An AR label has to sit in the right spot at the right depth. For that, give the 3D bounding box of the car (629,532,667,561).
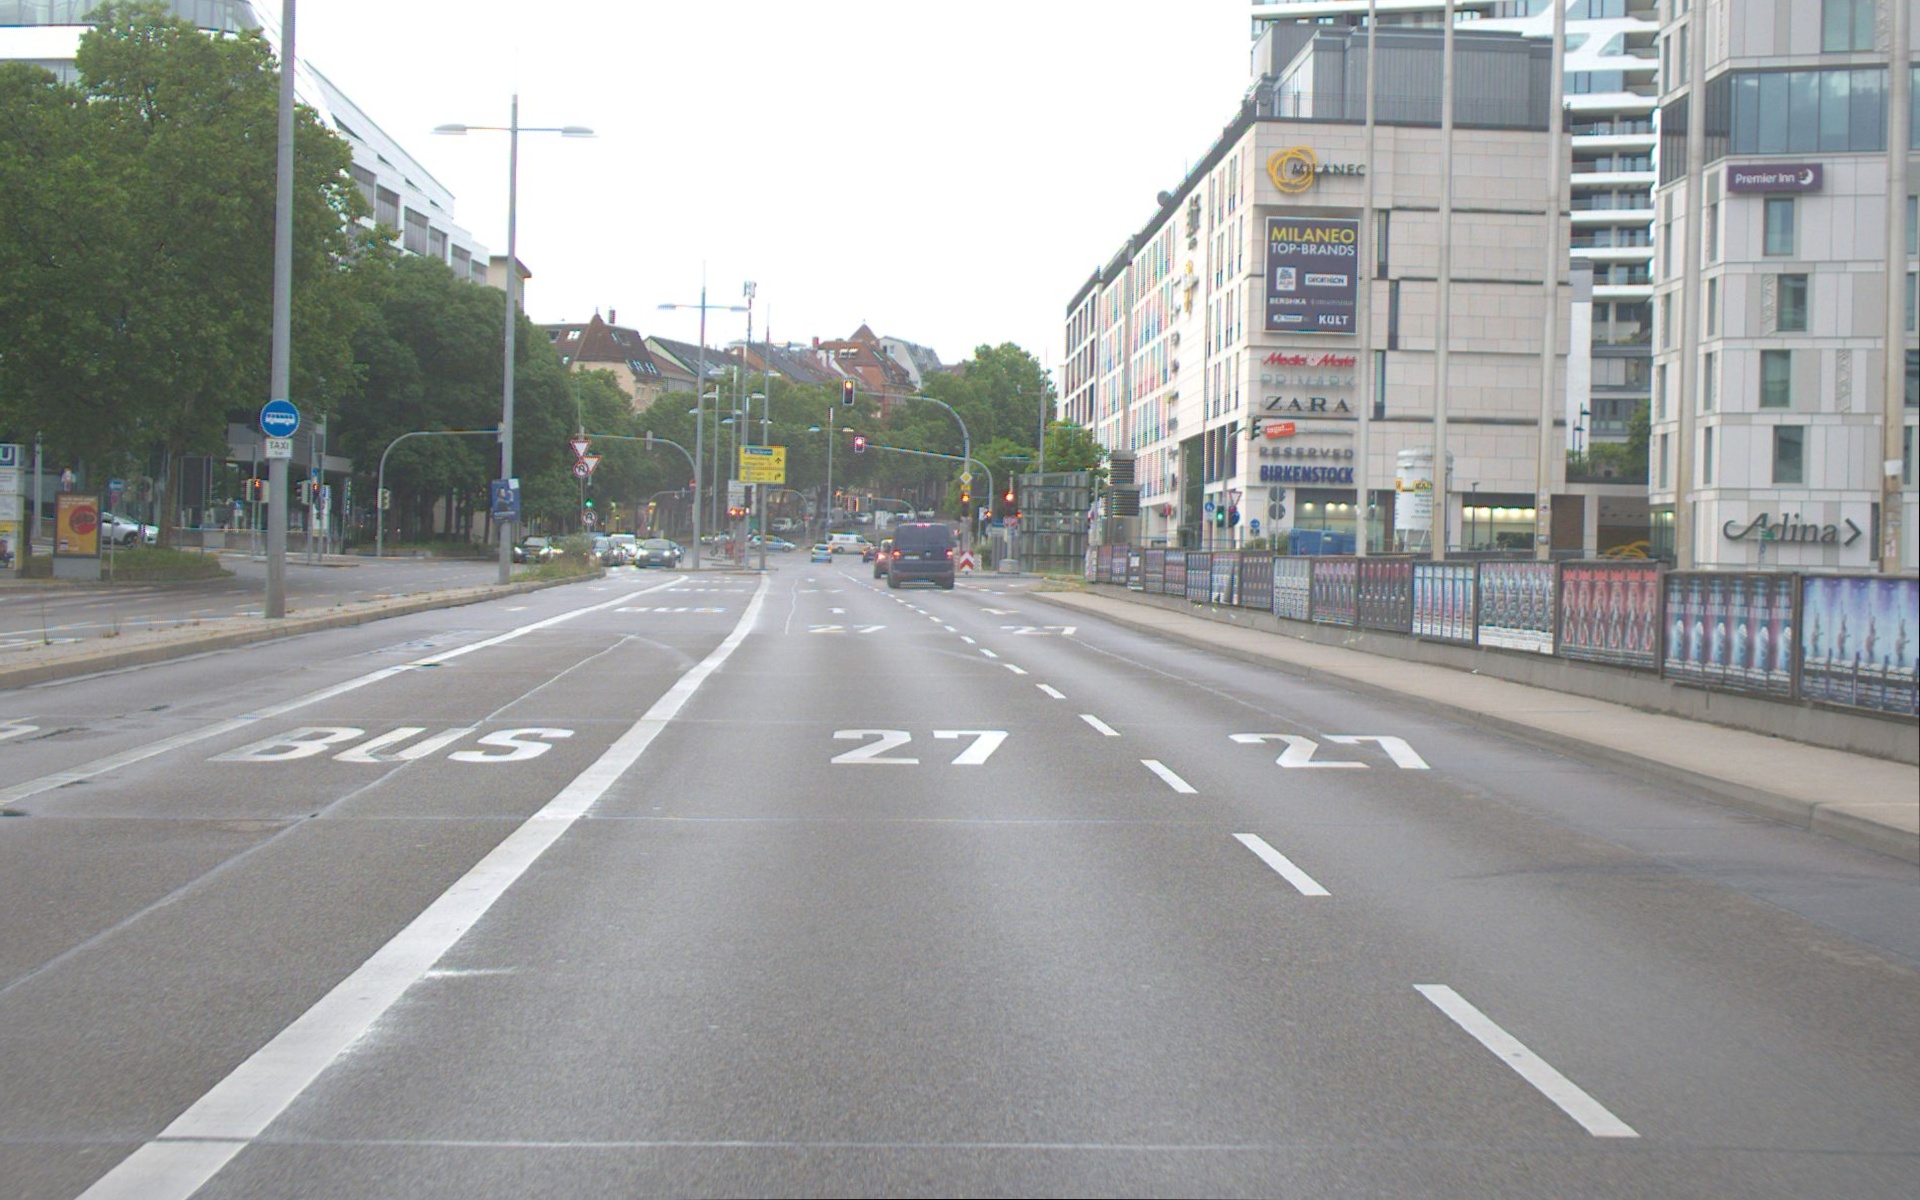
[{"bbox_3d":[-15.891,-2.722,175.221,1.743,1.439,3.395,0,0,-2],"label":"car"}]

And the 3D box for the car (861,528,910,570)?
[{"bbox_3d":[-2.801,-1.890,128.808,1.740,1.526,3.814,0,0,-2],"label":"car"}]

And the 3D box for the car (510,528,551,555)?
[{"bbox_3d":[-21.896,-2.967,175.377,1.743,1.324,4.226,0,0,-2],"label":"car"}]

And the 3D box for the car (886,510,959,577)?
[{"bbox_3d":[-1.173,-1.744,104.878,2.033,1.875,5.042,-2,2,-2],"label":"car"}]

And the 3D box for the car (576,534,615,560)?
[{"bbox_3d":[-18.639,-2.725,176.077,1.743,1.253,3.540,1,1,-2],"label":"car"}]

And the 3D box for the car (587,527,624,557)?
[{"bbox_3d":[-18.921,-3.088,183.390,1.743,1.553,3.540,0,0,-2],"label":"car"}]

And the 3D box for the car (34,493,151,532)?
[{"bbox_3d":[-37.355,-3.770,148.100,4.504,1.625,1.893,0,0,14],"label":"car"}]
